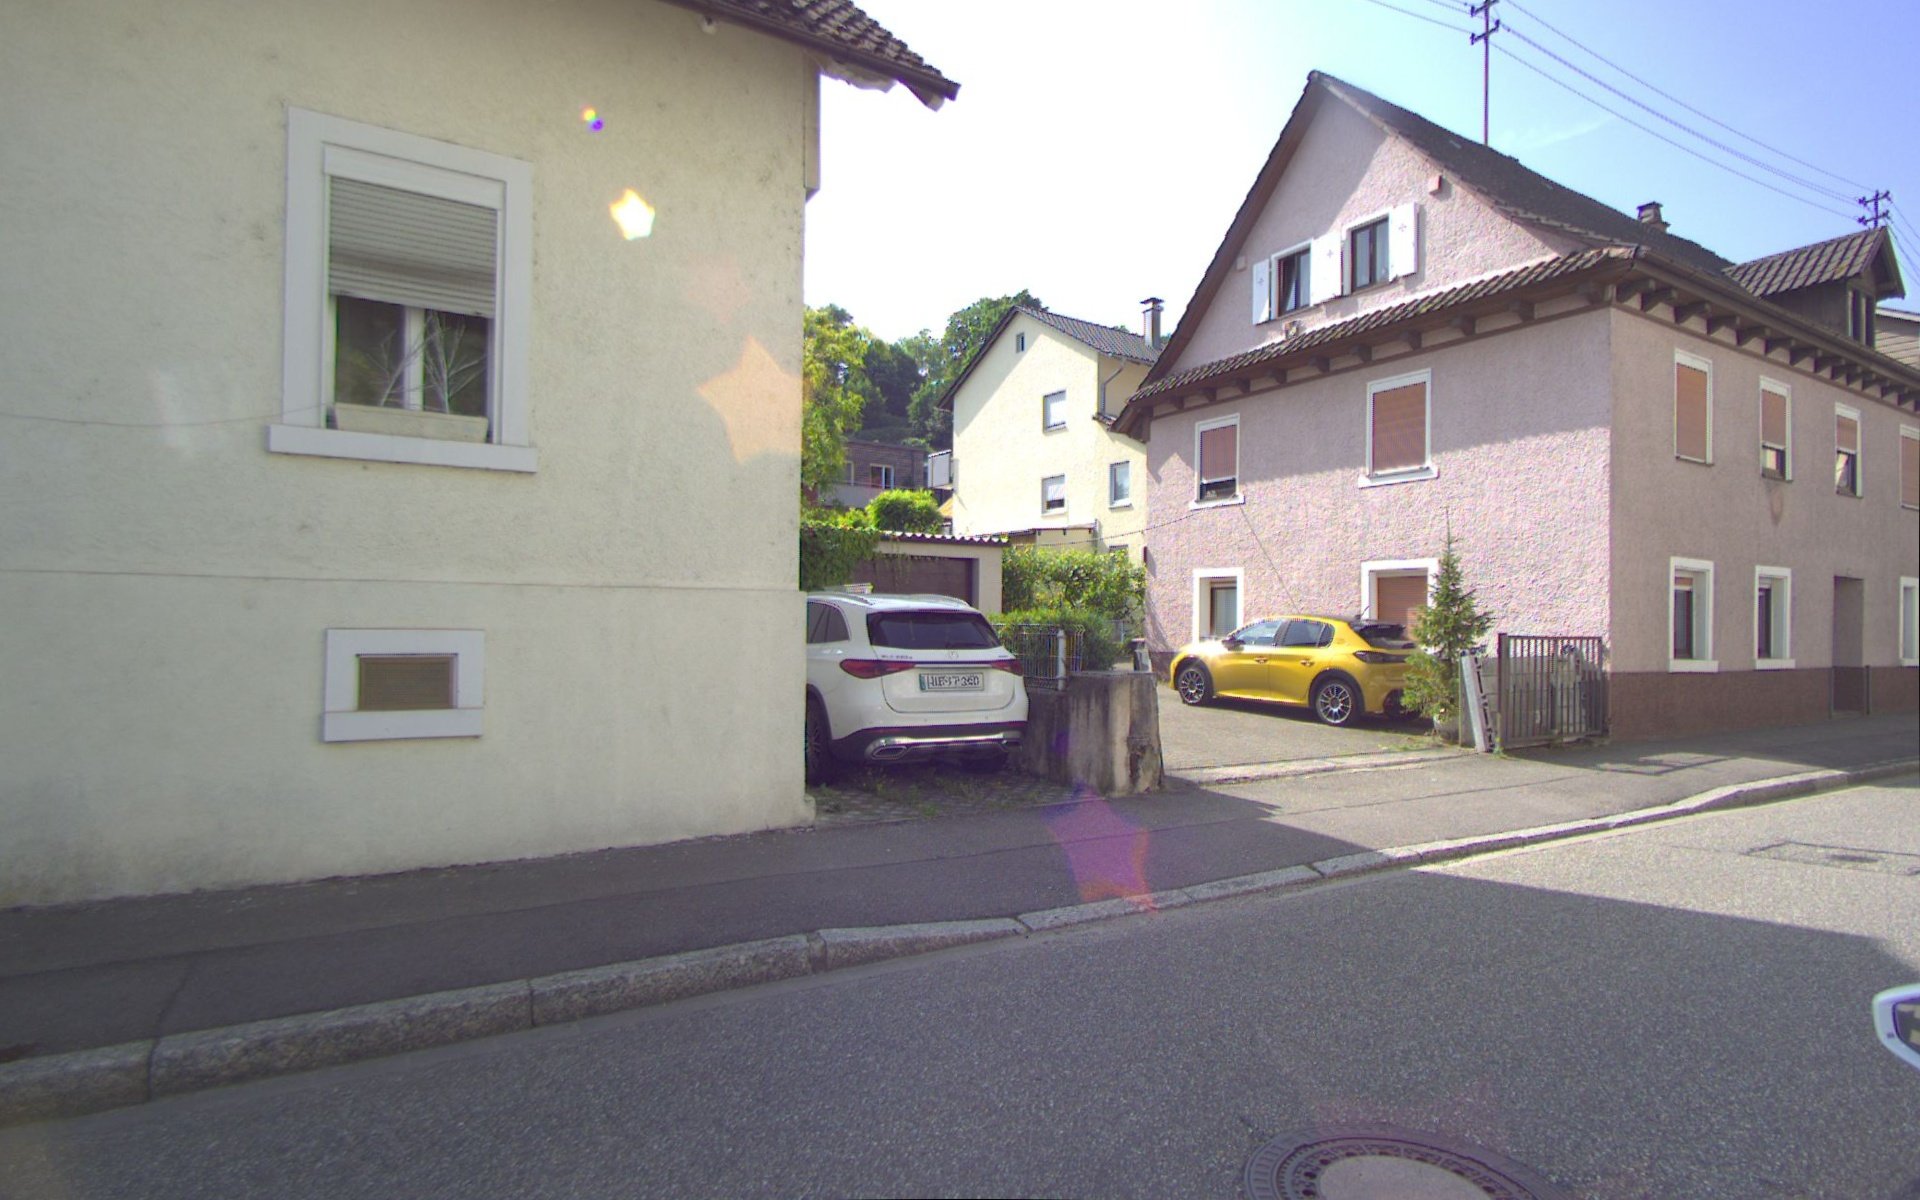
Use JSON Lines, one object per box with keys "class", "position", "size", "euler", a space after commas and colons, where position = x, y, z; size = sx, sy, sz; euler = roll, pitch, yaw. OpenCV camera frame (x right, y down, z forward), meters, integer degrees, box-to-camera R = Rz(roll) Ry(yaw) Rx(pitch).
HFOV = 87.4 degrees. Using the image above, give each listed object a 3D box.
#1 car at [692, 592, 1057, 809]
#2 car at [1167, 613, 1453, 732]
{"class": "car", "position": [-1.031, 0.761, 9.680], "size": [1.887, 1.615, 3.964], "euler": [1, 0, -33]}
{"class": "car", "position": [4.936, 0.940, 14.620], "size": [1.628, 1.411, 3.728], "euler": [0, 1, -33]}
